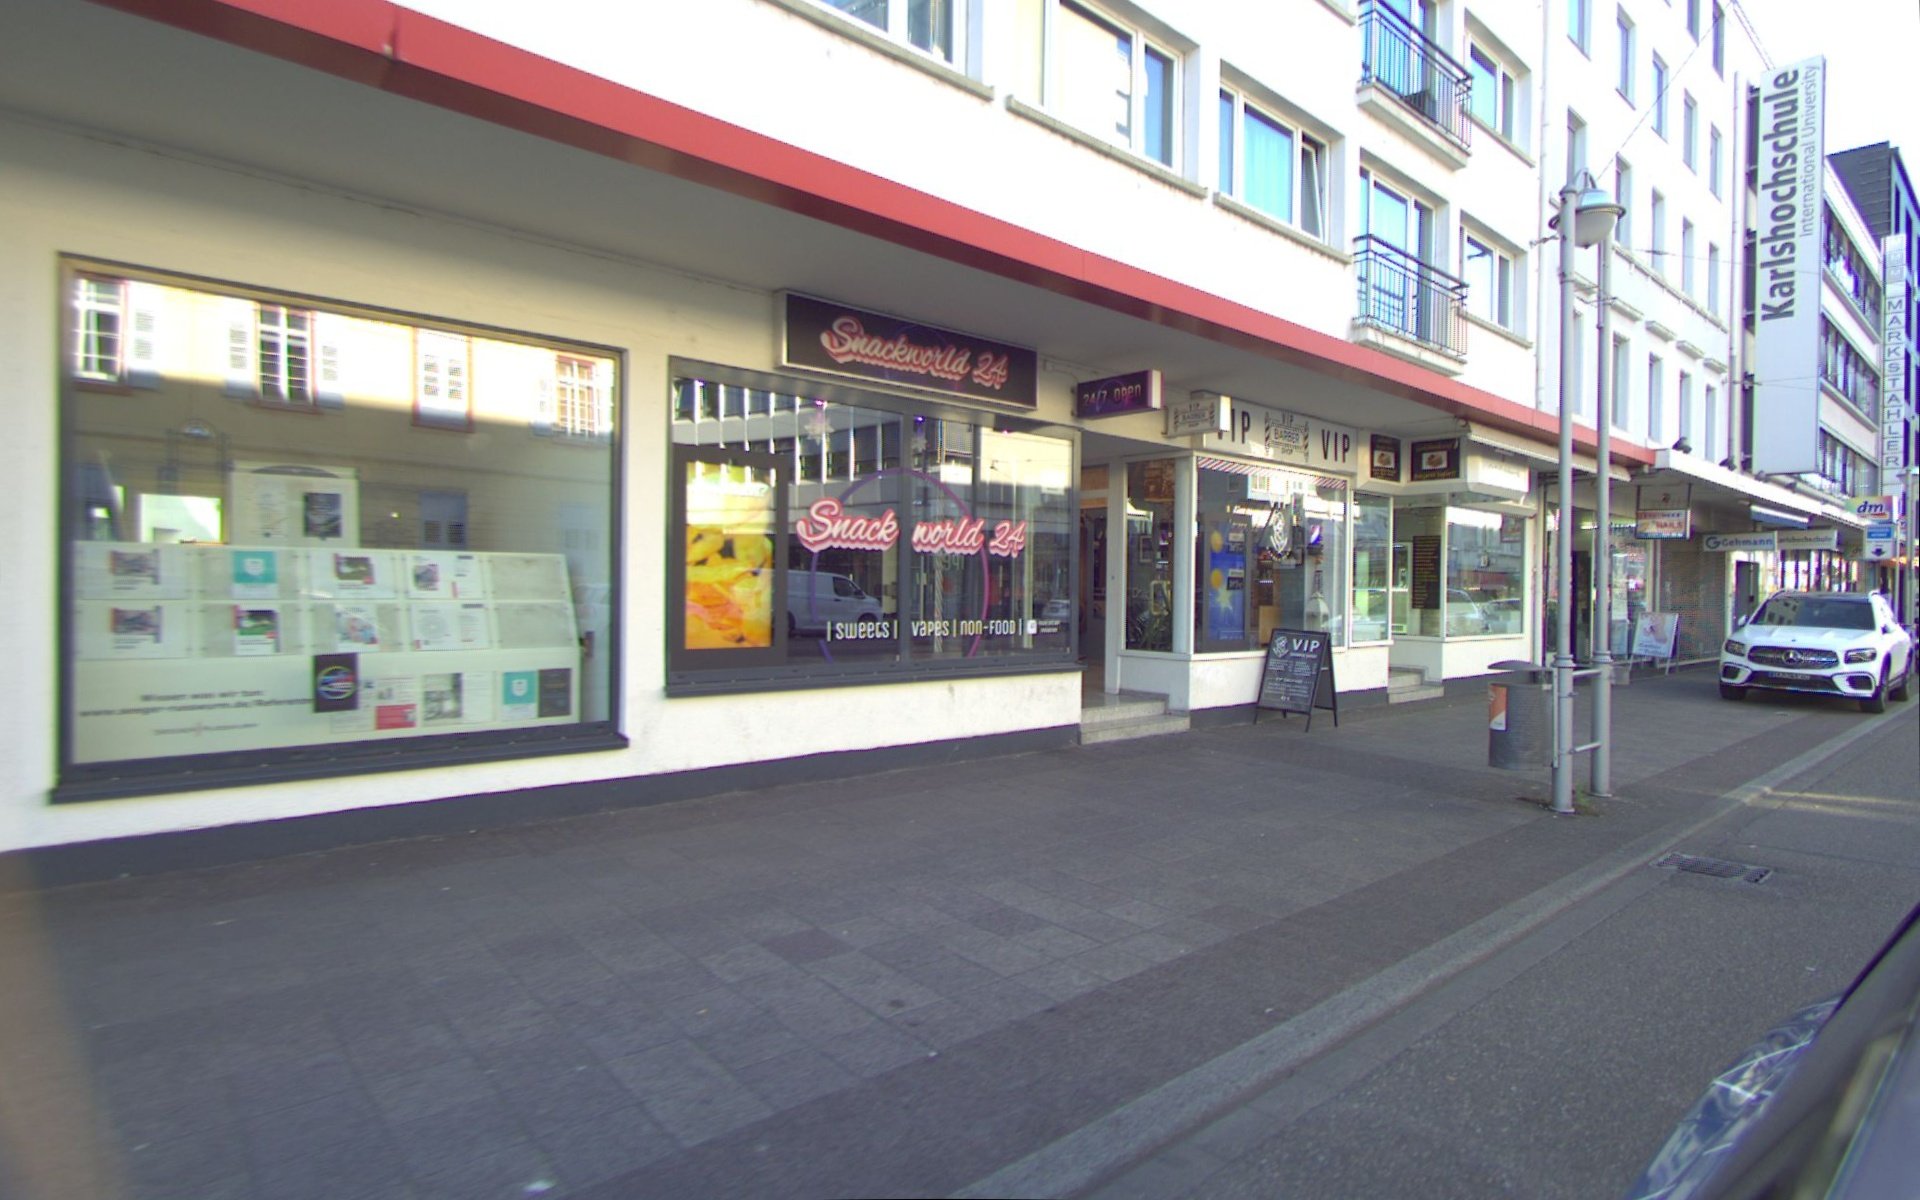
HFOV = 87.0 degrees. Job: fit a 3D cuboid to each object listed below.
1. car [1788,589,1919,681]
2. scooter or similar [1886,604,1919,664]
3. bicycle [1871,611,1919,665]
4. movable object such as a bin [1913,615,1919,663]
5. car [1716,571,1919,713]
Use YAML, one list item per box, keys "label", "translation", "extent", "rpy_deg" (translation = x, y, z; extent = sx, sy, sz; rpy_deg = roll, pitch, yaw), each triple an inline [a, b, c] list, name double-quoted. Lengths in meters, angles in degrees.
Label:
- label: "car"
  translation: [17.293, 0.577, 19.370]
  extent: [4.000, 1.547, 1.617]
  rpy_deg: [-1, 2, -42]
- label: "scooter or similar"
  translation: [20.682, 0.738, 21.821]
  extent: [0.314, 1.247, 0.994]
  rpy_deg: [0, 3, -42]
- label: "bicycle"
  translation: [20.336, 0.819, 21.700]
  extent: [0.314, 1.093, 1.133]
  rpy_deg: [0, 3, -42]
- label: "movable object such as a bin"
  translation: [21.242, 0.858, 22.087]
  extent: [0.659, 1.027, 0.523]
  rpy_deg: [0, 1, -39]
- label: "car"
  translation: [13.178, 0.491, 15.239]
  extent: [5.103, 1.745, 1.853]
  rpy_deg: [-1, 3, -42]
